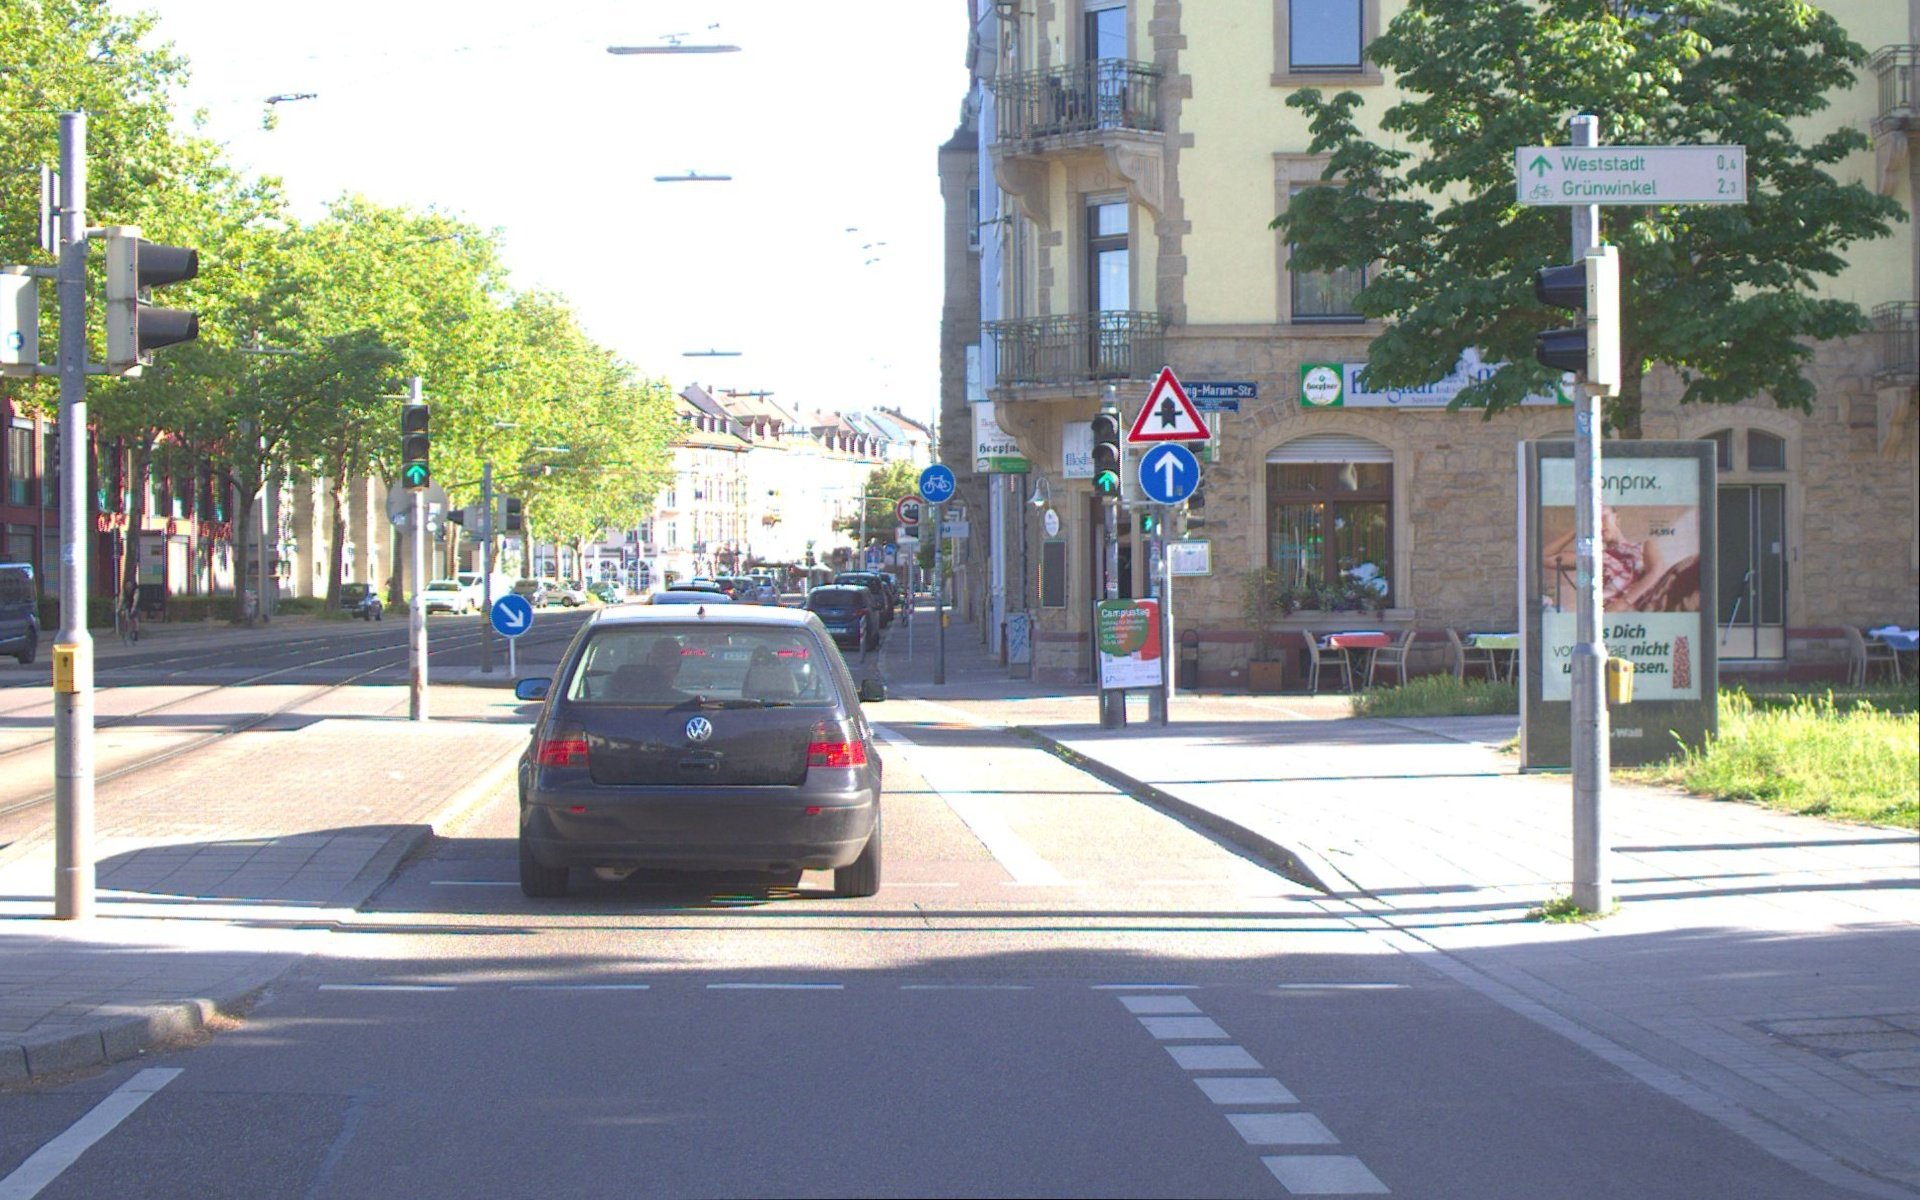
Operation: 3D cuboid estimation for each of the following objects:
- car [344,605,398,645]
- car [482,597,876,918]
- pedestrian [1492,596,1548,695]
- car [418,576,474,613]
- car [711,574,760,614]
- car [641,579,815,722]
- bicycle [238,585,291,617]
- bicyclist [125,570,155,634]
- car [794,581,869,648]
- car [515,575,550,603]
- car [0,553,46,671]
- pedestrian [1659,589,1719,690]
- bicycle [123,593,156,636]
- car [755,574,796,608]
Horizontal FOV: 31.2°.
[{"bbox_3d":[-22.918,0.987,133.844,1.507,1.449,3.463,-1,-1,-1],"label":"car"},{"bbox_3d":[-1.326,0.700,17.368,1.748,1.370,4.000,0,1,-2],"label":"car"},{"bbox_3d":[7.874,0.638,48.323,0.638,1.355,0.701,2,1,0],"label":"pedestrian"},{"bbox_3d":[-23.599,-0.262,158.003,2.011,1.567,4.694,2,1,-2],"label":"car"},{"bbox_3d":[-8.376,-0.250,128.419,1.636,1.467,3.729,0,0,-1],"label":"car"},{"bbox_3d":[-2.643,0.544,39.873,1.748,1.532,3.892,0,1,0],"label":"car"},{"bbox_3d":[-28.330,0.043,140.122,2.008,1.274,0.664,1,1,0],"label":"bicycle"},{"bbox_3d":[-20.901,0.053,87.643,0.644,1.606,0.781,1,1,-9],"label":"bicyclist"},{"bbox_3d":[-2.963,0.317,79.994,1.655,1.477,4.000,1,0,-1],"label":"car"},{"bbox_3d":[-23.913,-0.610,192.495,1.570,1.528,3.572,0,0,-1],"label":"car"},{"bbox_3d":[-18.210,0.202,62.925,2.019,2.006,5.251,-2,2,-6],"label":"car"},{"bbox_3d":[10.059,0.537,47.436,0.638,1.355,0.701,2,1,0],"label":"pedestrian"},{"bbox_3d":[-20.914,0.364,87.653,0.644,1.039,1.926,1,1,-9],"label":"bicycle"},{"bbox_3d":[-8.148,-0.404,152.045,1.636,1.467,3.729,0,0,-1],"label":"car"}]
